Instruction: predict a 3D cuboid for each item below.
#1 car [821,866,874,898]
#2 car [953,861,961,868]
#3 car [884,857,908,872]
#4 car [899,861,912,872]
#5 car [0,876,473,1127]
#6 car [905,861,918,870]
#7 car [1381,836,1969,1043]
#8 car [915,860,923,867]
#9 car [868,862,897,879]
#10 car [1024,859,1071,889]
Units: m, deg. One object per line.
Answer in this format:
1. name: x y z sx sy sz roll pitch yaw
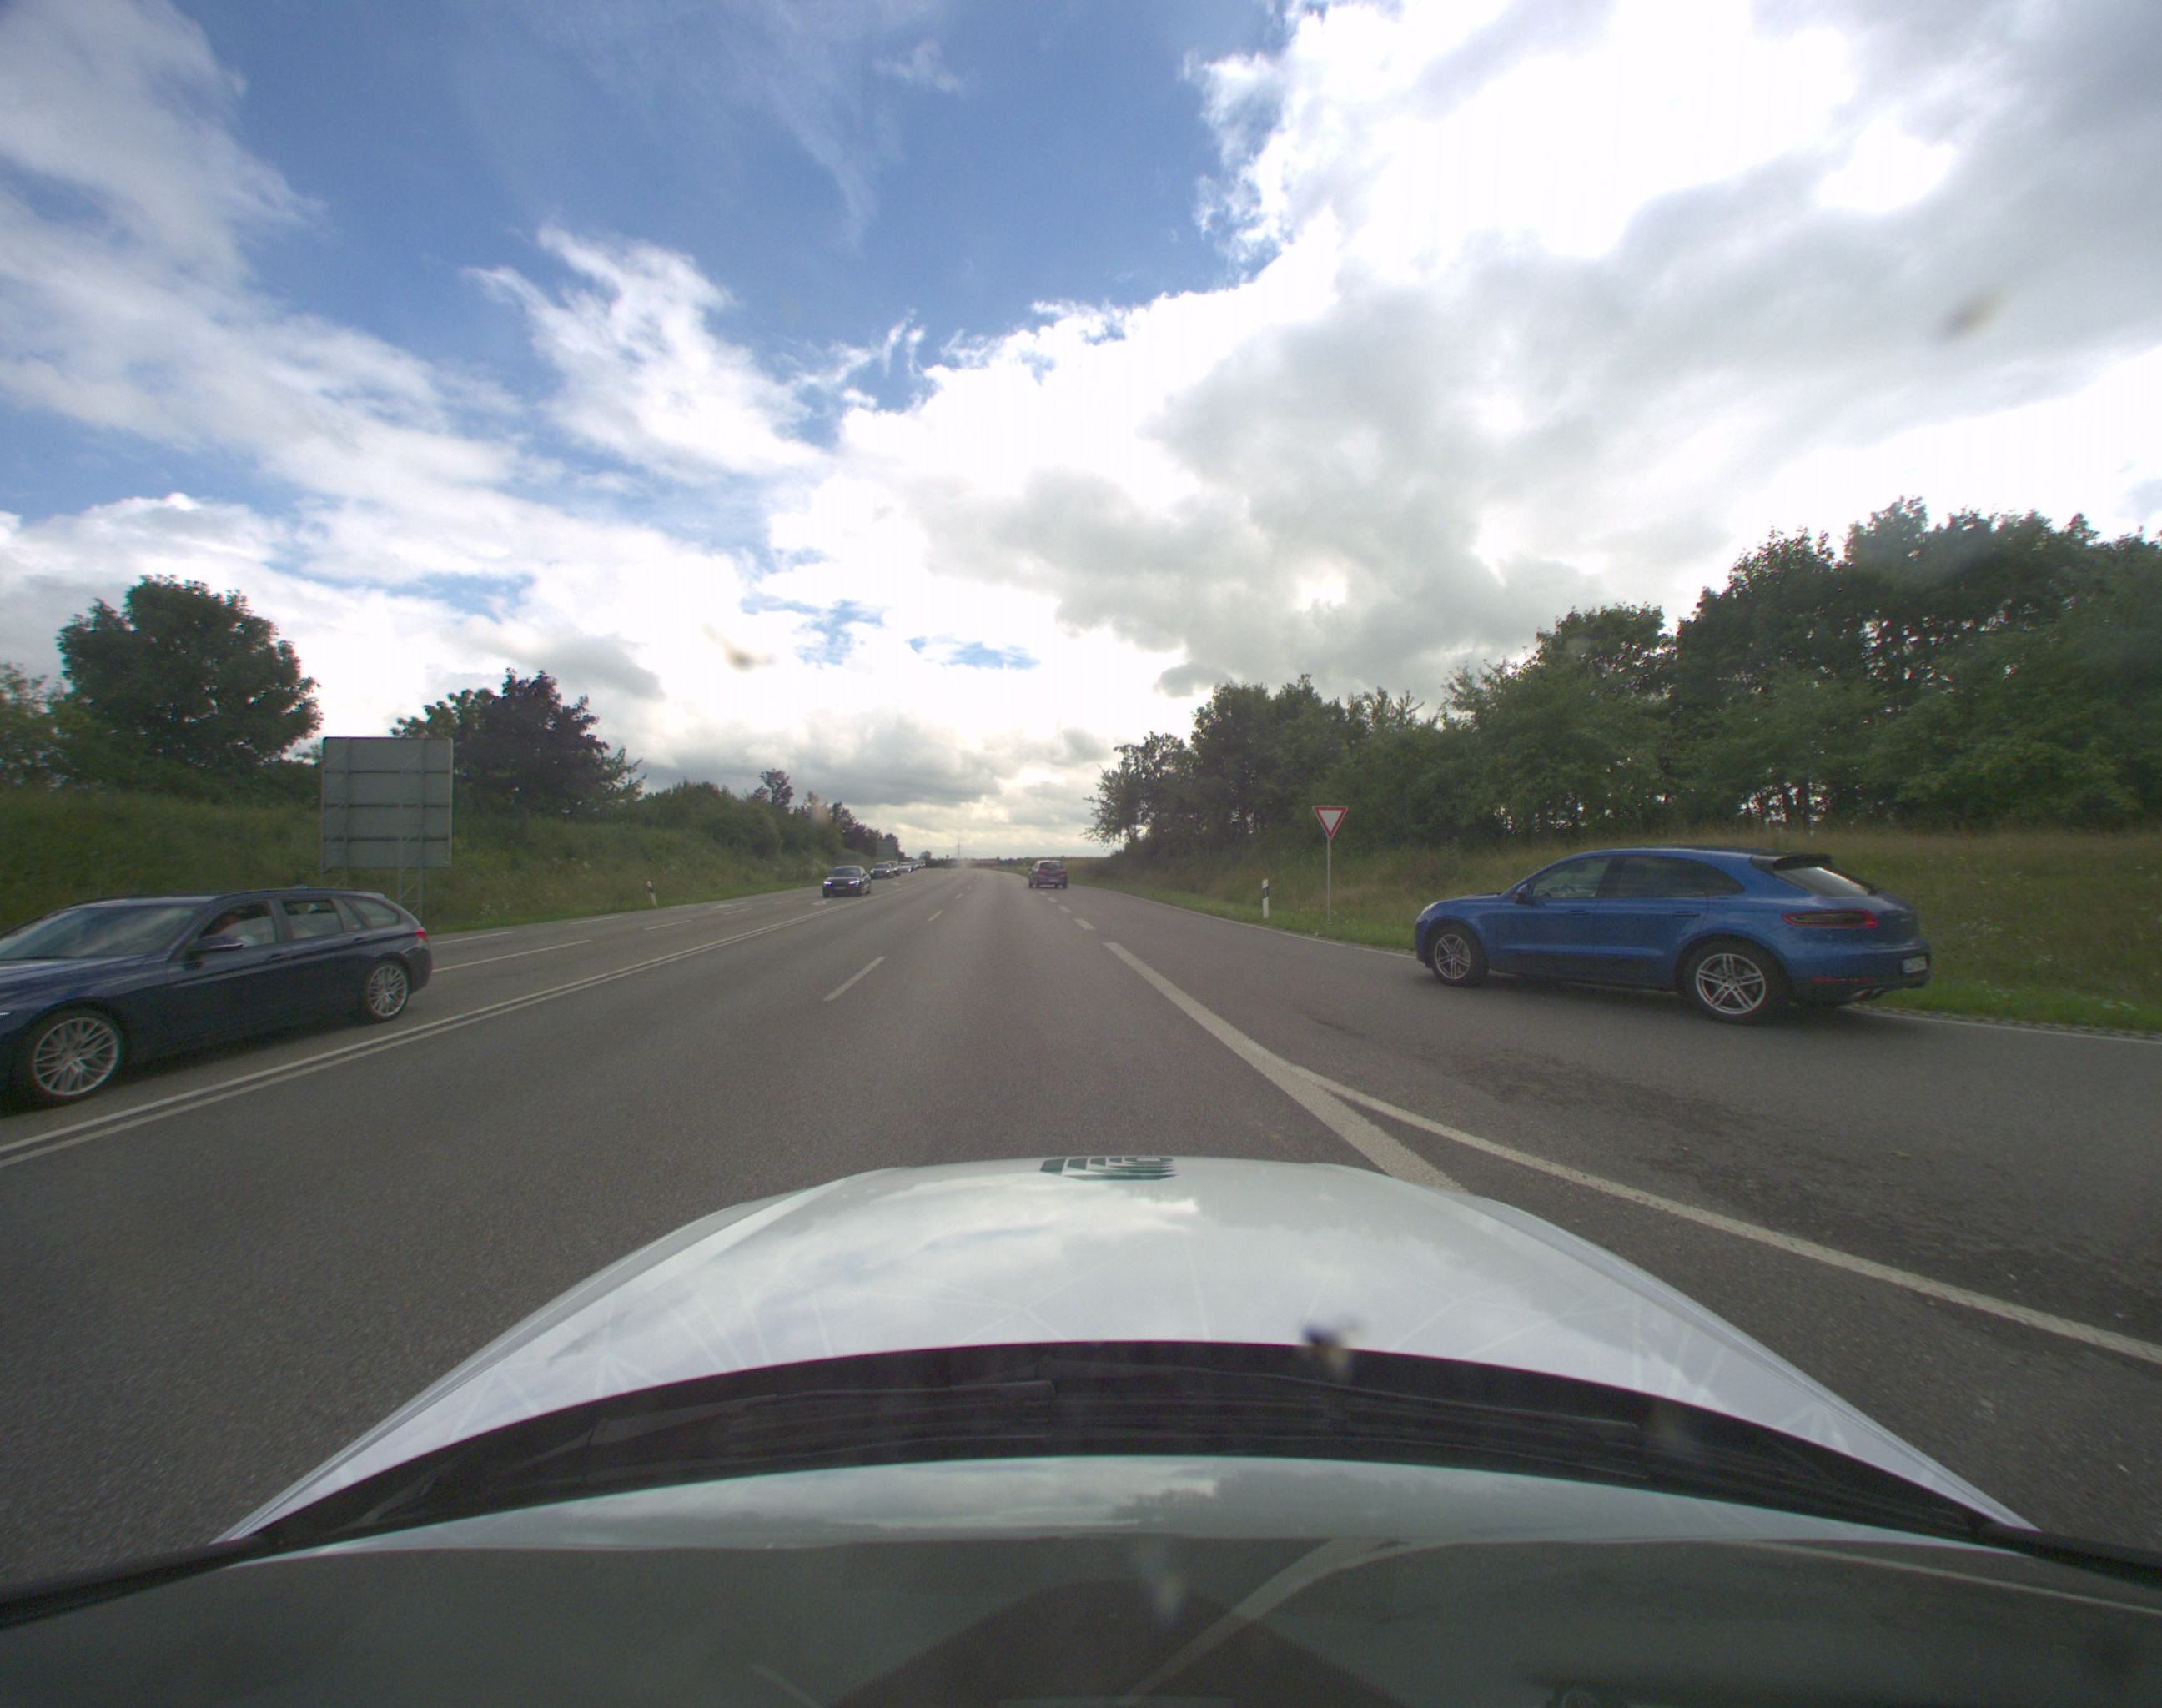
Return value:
1. car: -11.251 1.296 39.528 1.763 1.383 4.532 -1 0 -7
2. car: -33.356 2.894 219.328 1.992 1.715 3.990 -1 0 -7
3. car: -20.665 1.161 91.020 1.991 1.610 4.981 -1 0 -7
4. car: -25.335 1.764 117.534 1.668 1.442 4.131 -1 0 -10
5. car: -8.111 1.038 7.241 2.046 1.484 4.871 -2 0 -6
6. car: -28.915 1.914 139.118 1.996 1.508 3.981 -1 0 -14
7. car: 5.836 0.674 8.783 2.005 1.570 4.712 -1 0 -29
8. car: -36.555 2.098 183.905 1.766 1.442 3.985 -1 0 -10
9. car: -18.381 1.491 75.561 1.992 1.494 4.979 -1 0 -7
10. car: -1.868 1.022 44.034 1.994 1.535 3.986 0 0 -10
